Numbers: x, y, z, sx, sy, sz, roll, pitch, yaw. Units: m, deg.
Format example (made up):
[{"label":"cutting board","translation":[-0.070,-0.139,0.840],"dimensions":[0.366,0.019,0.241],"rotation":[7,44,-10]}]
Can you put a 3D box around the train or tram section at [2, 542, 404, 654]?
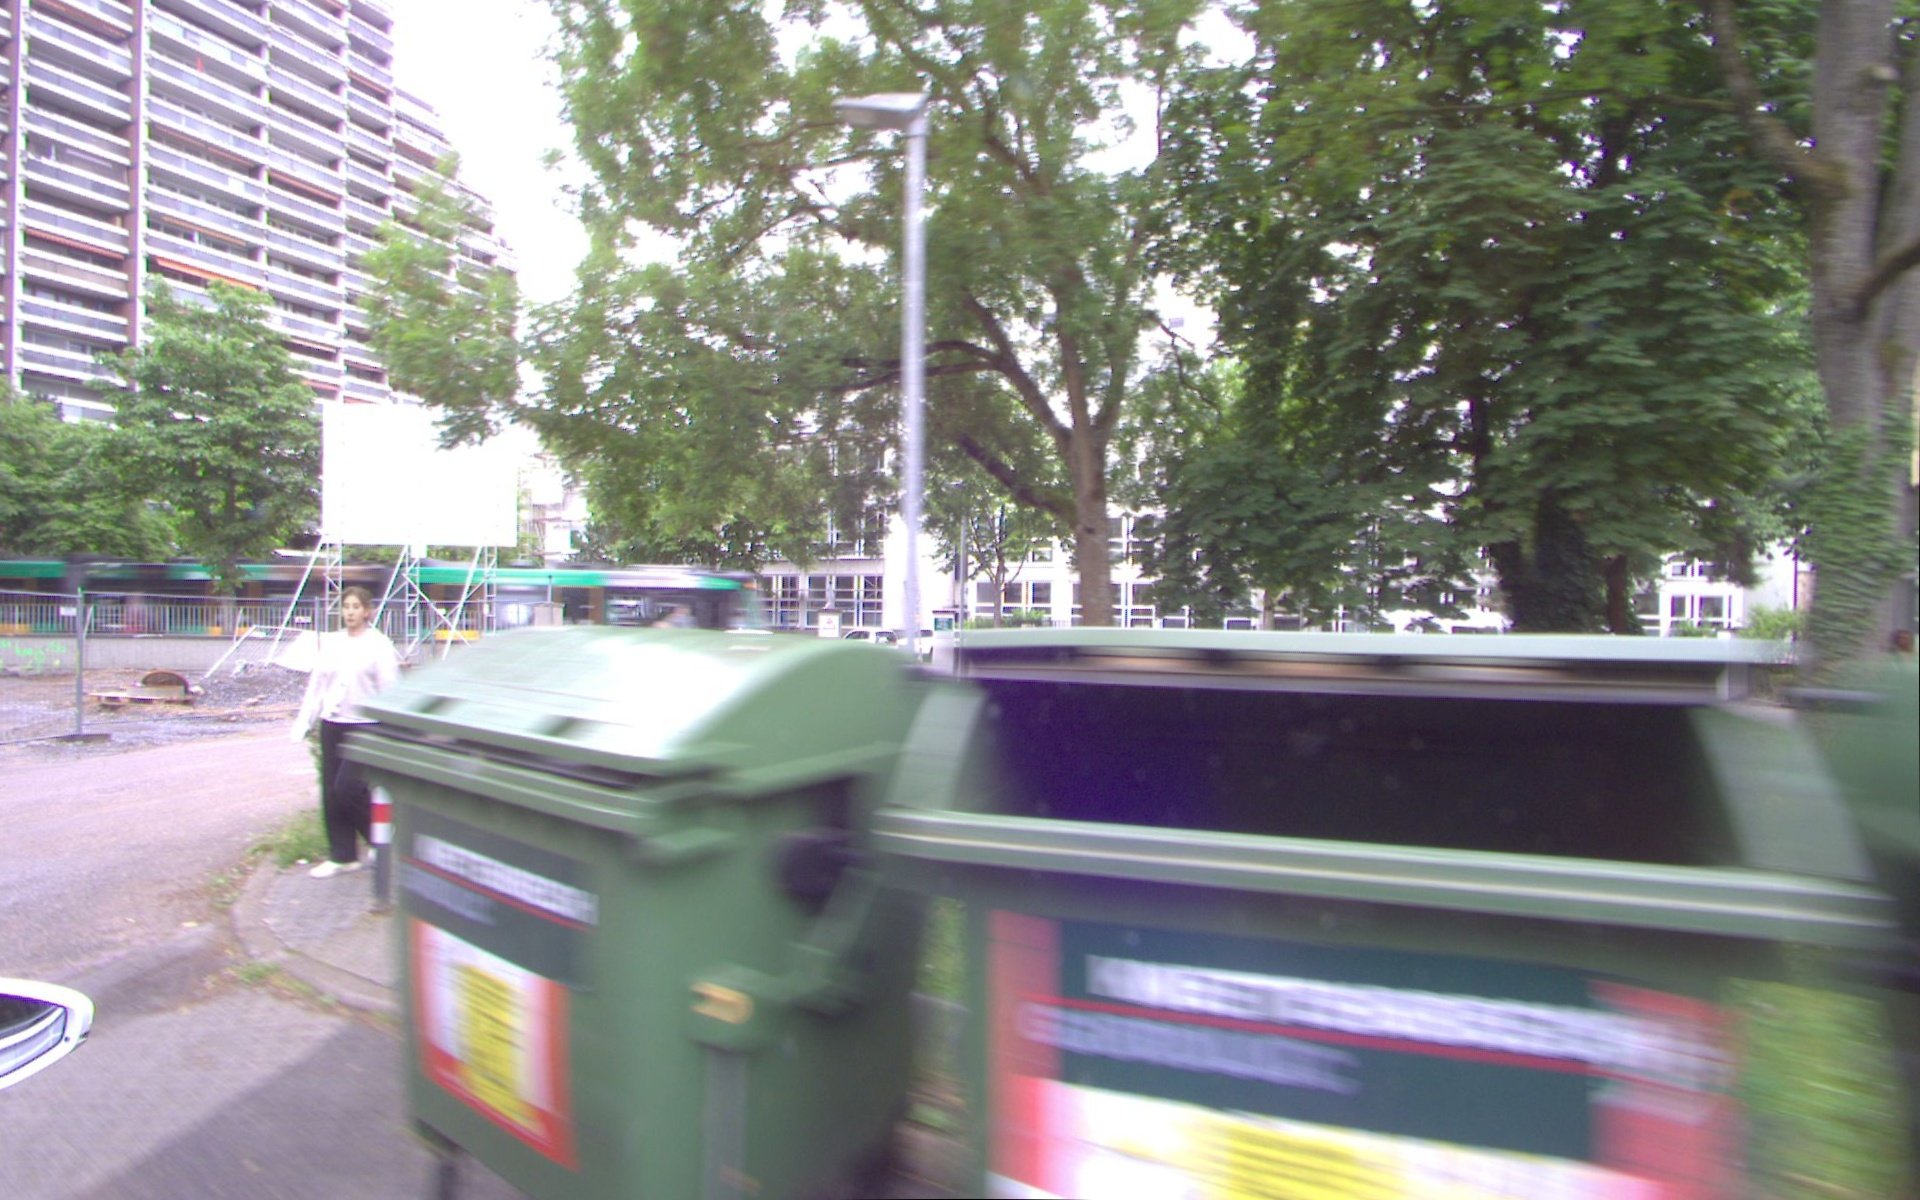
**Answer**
[{"label":"train or tram section","translation":[-26.661,-0.028,35.642],"dimensions":[12.214,3.661,2.669],"rotation":[1,-1,0]}]

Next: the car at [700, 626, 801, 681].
[{"label":"car","translation":[-5.890,1.543,28.614],"dimensions":[1.747,1.450,3.983],"rotation":[0,-4,5]}]

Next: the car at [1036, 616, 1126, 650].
[{"label":"car","translation":[5.556,1.497,46.285],"dimensions":[3.911,1.492,1.659],"rotation":[-1,-2,43]}]

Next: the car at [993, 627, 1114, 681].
[{"label":"car","translation":[2.788,1.621,30.473],"dimensions":[3.524,1.520,1.666],"rotation":[1,-1,0]}]

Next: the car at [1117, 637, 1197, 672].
[{"label":"car","translation":[8.938,2.457,45.590],"dimensions":[1.403,1.492,3.357],"rotation":[2,-2,-44]}]

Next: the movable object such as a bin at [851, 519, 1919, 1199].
[{"label":"movable object such as a bin","translation":[0.616,0.656,1.809],"dimensions":[1.263,1.469,1.107],"rotation":[1,-1,19]}]

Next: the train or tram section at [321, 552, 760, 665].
[{"label":"train or tram section","translation":[-14.682,0.328,35.734],"dimensions":[14.482,3.661,2.669],"rotation":[1,-1,0]}]

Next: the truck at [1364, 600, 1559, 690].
[{"label":"truck","translation":[15.182,1.357,30.529],"dimensions":[4.832,2.579,2.170],"rotation":[1,-1,0]}]

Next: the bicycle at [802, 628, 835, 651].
[{"label":"bicycle","translation":[-7.413,2.077,52.508],"dimensions":[0.635,1.089,2.305],"rotation":[1,1,22]}]

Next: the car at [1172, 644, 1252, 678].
[{"label":"car","translation":[11.623,2.795,46.313],"dimensions":[1.403,1.492,3.357],"rotation":[2,-2,-44]}]

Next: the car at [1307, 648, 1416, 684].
[{"label":"car","translation":[18.472,3.034,46.190],"dimensions":[4.448,1.491,1.406],"rotation":[-1,-5,42]}]

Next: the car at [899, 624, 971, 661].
[{"label":"car","translation":[-1.167,1.937,46.193],"dimensions":[1.540,1.639,3.378],"rotation":[2,-2,-41]}]

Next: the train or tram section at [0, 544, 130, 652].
[{"label":"train or tram section","translation":[-36.753,-0.113,35.575],"dimensions":[12.214,3.661,2.669],"rotation":[1,-1,0]}]

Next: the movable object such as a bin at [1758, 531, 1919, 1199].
[{"label":"movable object such as a bin","translation":[1.896,0.648,1.146],"dimensions":[1.273,1.469,1.106],"rotation":[1,-1,24]}]

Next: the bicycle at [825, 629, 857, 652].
[{"label":"bicycle","translation":[-6.179,2.077,52.122],"dimensions":[0.635,1.089,2.305],"rotation":[1,1,22]}]

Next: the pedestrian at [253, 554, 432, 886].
[{"label":"pedestrian","translation":[-3.603,0.656,5.914],"dimensions":[0.739,1.805,0.661],"rotation":[-2,1,-23]}]

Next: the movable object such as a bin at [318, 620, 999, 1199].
[{"label":"movable object such as a bin","translation":[-0.729,0.786,2.451],"dimensions":[1.259,1.453,1.064],"rotation":[0,-1,39]}]

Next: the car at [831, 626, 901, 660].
[{"label":"car","translation":[-4.327,1.957,45.847],"dimensions":[1.540,1.492,3.378],"rotation":[2,-2,-41]}]

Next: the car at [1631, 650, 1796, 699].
[{"label":"car","translation":[22.818,2.245,30.405],"dimensions":[3.737,1.371,1.812],"rotation":[1,-1,-4]}]

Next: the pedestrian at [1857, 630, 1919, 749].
[{"label":"pedestrian","translation":[13.054,1.227,14.000],"dimensions":[0.594,1.607,0.625],"rotation":[1,0,27]}]
